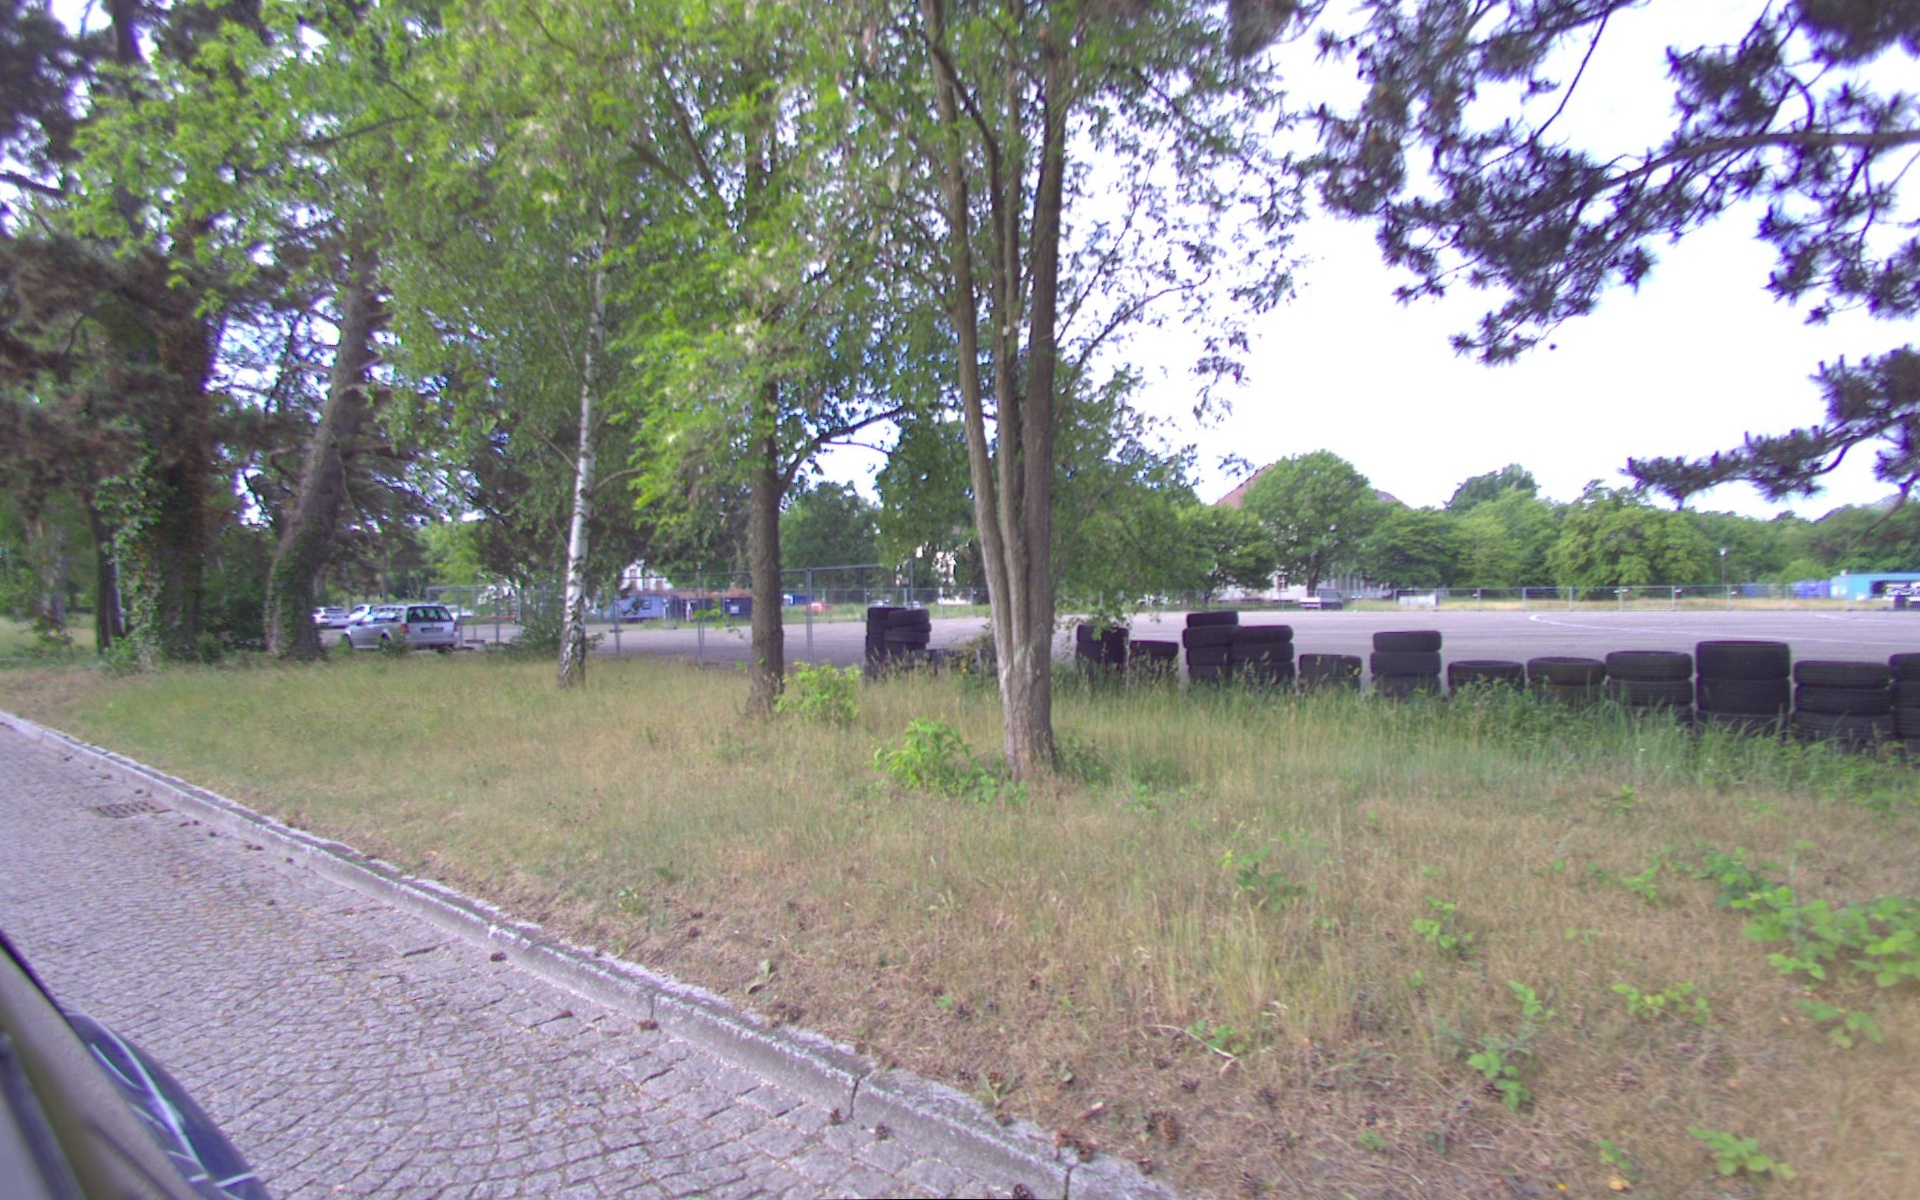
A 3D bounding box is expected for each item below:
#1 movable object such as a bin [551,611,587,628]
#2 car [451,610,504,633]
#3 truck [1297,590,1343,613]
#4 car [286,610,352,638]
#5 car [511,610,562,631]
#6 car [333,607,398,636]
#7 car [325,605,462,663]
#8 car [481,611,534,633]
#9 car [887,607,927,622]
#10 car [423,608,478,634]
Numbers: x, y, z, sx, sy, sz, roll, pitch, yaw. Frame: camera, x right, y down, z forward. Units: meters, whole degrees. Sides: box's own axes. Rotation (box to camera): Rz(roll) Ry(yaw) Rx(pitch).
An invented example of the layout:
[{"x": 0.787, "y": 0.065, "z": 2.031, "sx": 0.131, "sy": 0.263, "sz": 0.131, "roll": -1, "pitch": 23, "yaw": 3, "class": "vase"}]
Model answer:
[{"x": -22.838, "y": 1.152, "z": 59.053, "sx": 1.930, "sy": 0.940, "sz": 1.030, "roll": -1, "pitch": -1, "yaw": 33, "class": "movable object such as a bin"}, {"x": -37.498, "y": 1.697, "z": 78.614, "sx": 4.577, "sy": 1.571, "sz": 1.818, "roll": -3, "pitch": -2, "yaw": 37, "class": "car"}, {"x": 36.234, "y": 0.167, "z": 101.791, "sx": 2.372, "sy": 2.215, "sz": 6.470, "roll": -1, "pitch": 0, "yaw": 39, "class": "truck"}, {"x": -38.034, "y": 1.444, "z": 60.039, "sx": 4.648, "sy": 1.461, "sz": 1.818, "roll": -3, "pitch": -2, "yaw": 37, "class": "car"}, {"x": -34.540, "y": 1.672, "z": 82.516, "sx": 4.577, "sy": 1.533, "sz": 1.818, "roll": -3, "pitch": -2, "yaw": 37, "class": "car"}, {"x": -36.553, "y": 1.325, "z": 62.160, "sx": 4.577, "sy": 1.590, "sz": 1.818, "roll": -3, "pitch": -2, "yaw": 37, "class": "car"}, {"x": -15.767, "y": 0.914, "z": 28.092, "sx": 4.460, "sy": 1.449, "sz": 1.699, "roll": -1, "pitch": 0, "yaw": 38, "class": "car"}, {"x": -35.929, "y": 1.744, "z": 80.304, "sx": 4.577, "sy": 1.533, "sz": 1.818, "roll": -3, "pitch": -2, "yaw": 37, "class": "car"}, {"x": -6.114, "y": 1.654, "z": 116.588, "sx": 4.577, "sy": 1.533, "sz": 1.818, "roll": -4, "pitch": -2, "yaw": 37, "class": "car"}, {"x": -33.564, "y": 1.365, "z": 66.609, "sx": 4.110, "sy": 1.533, "sz": 1.715, "roll": -3, "pitch": -2, "yaw": 40, "class": "car"}]
